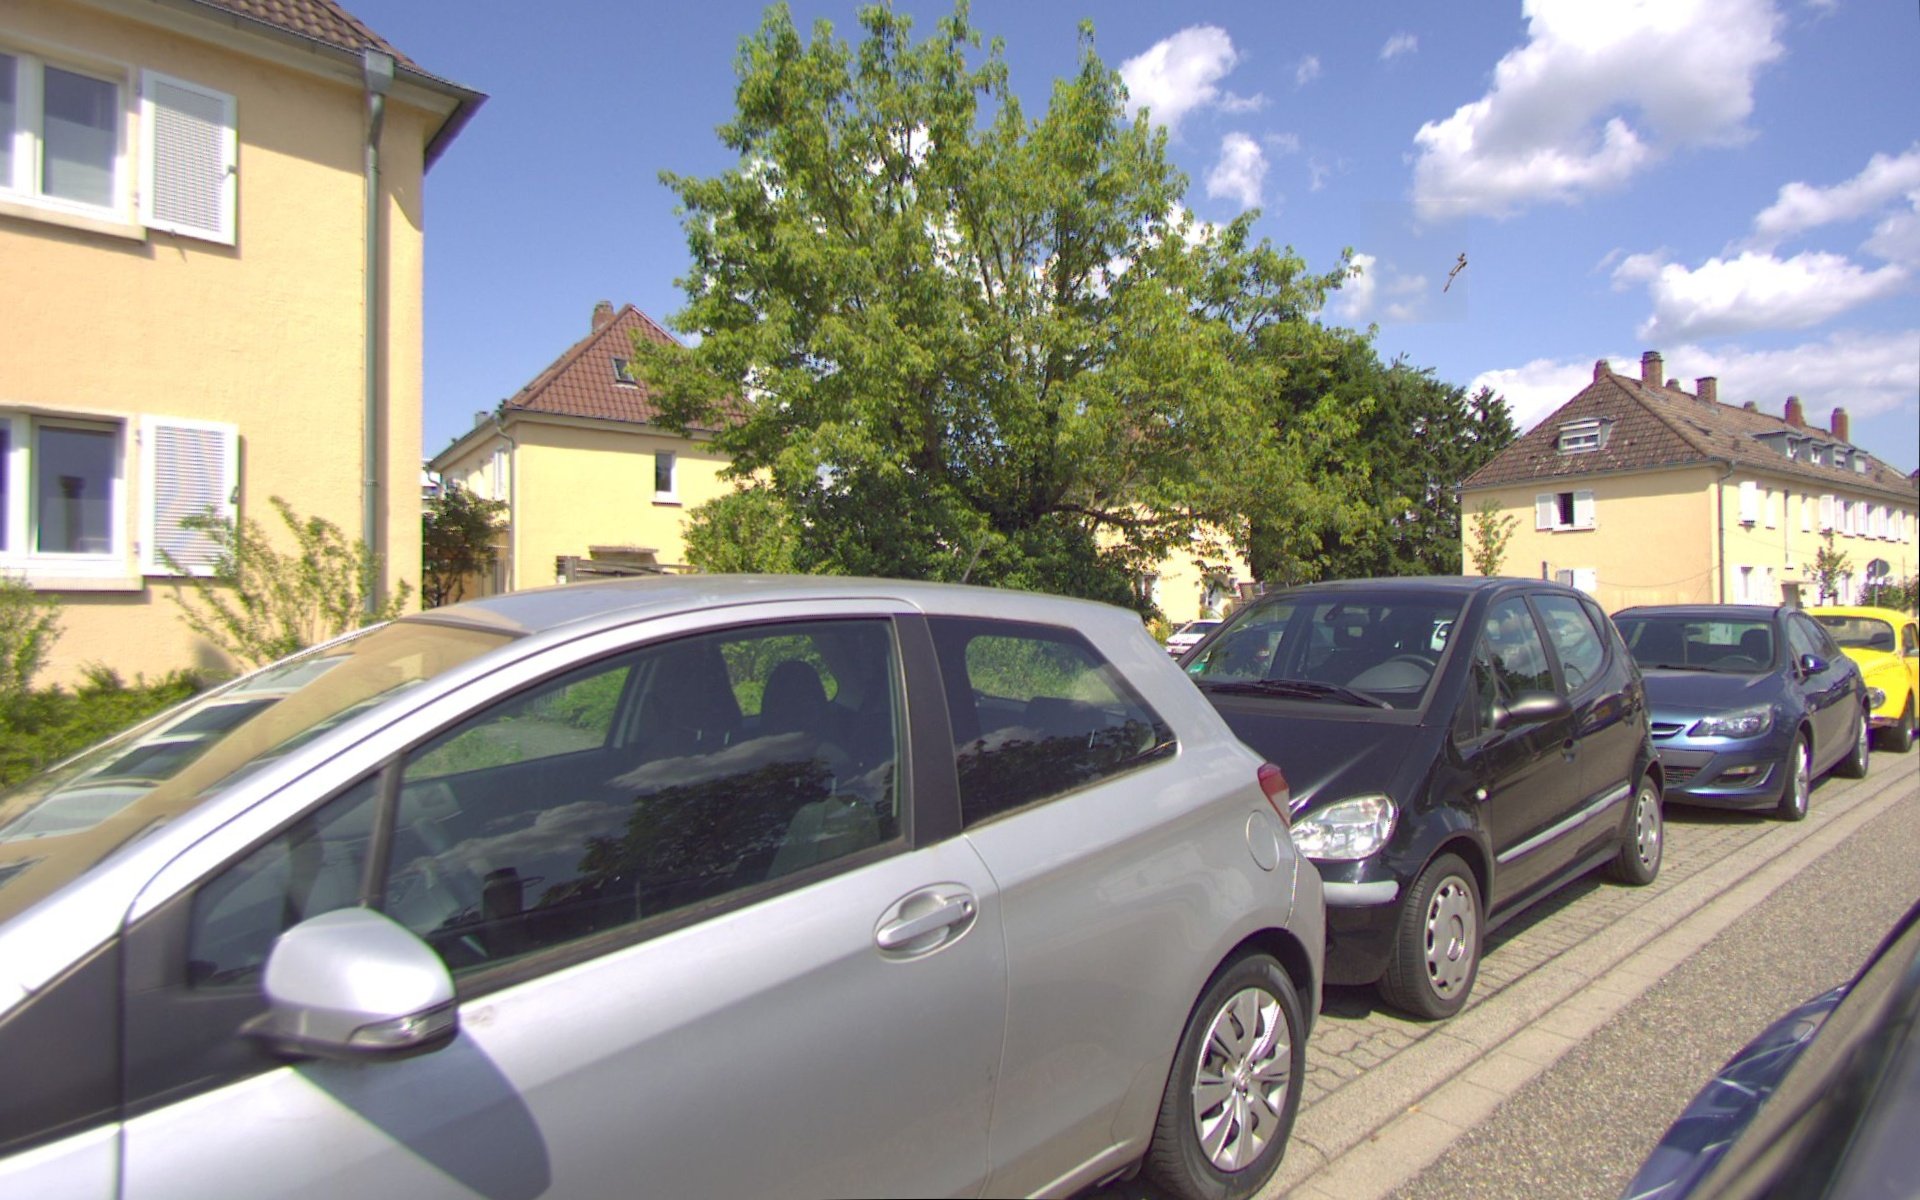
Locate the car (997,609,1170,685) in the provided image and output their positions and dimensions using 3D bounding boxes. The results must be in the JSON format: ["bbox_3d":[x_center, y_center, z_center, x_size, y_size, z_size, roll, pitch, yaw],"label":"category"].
[{"bbox_3d":[2.966,1.051,23.944,4.011,1.566,1.642,1,2,-36],"label":"car"}]

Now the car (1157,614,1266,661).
[{"bbox_3d":[7.963,1.162,31.868,1.634,1.392,4.026,-3,-3,41],"label":"car"}]

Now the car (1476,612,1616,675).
[{"bbox_3d":[14.159,0.991,24.367,4.015,1.391,1.639,0,-1,-40],"label":"car"}]

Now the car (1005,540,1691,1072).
[{"bbox_3d":[2.160,0.652,5.030,3.864,1.623,1.638,1,-1,-43],"label":"car"}]

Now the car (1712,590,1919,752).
[{"bbox_3d":[10.235,0.710,11.593,3.860,1.501,1.640,1,1,-39],"label":"car"}]

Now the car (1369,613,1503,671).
[{"bbox_3d":[12.519,1.043,26.526,4.015,1.391,1.639,0,-1,-40],"label":"car"}]

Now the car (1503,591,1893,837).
[{"bbox_3d":[6.060,0.720,8.130,4.051,1.501,1.639,1,-1,-41],"label":"car"}]

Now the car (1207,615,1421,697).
[{"bbox_3d":[6.670,0.981,18.961,4.007,1.372,1.642,0,-1,-32],"label":"car"}]

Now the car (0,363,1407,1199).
[{"bbox_3d":[-0.768,0.597,2.204,3.958,1.623,1.639,1,-1,-41],"label":"car"}]
